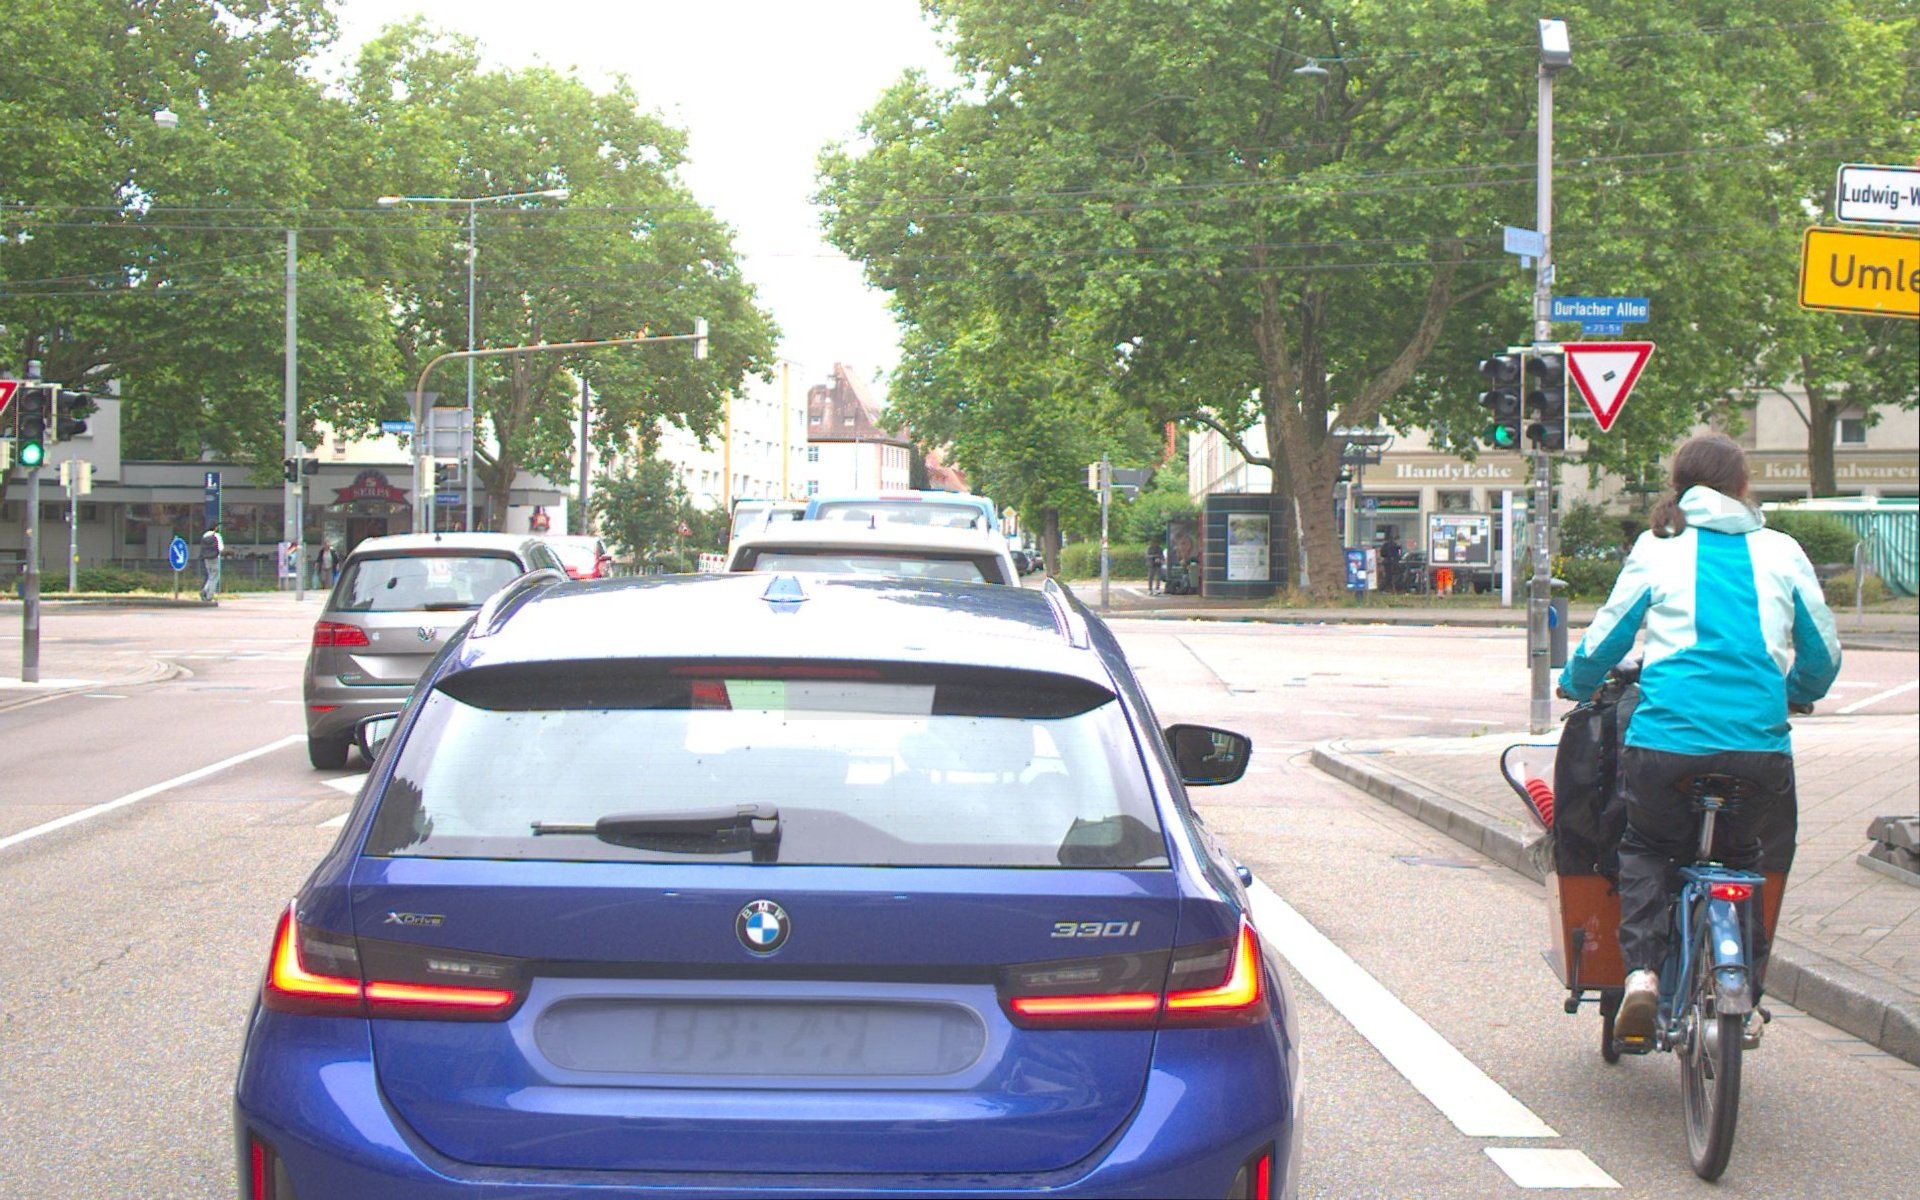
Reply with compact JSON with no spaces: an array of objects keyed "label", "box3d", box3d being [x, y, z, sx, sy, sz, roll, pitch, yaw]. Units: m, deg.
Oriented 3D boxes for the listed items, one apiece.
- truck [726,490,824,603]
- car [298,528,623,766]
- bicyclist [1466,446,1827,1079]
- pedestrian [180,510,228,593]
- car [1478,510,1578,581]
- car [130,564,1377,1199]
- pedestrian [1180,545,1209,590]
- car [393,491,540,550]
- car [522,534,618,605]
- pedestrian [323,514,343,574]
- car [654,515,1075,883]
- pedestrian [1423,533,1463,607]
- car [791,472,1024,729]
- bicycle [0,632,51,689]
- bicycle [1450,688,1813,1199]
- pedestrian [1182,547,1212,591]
[{"label":"truck","box3d":[-4.069,-1.201,76.124,2.074,2.400,5.463,0,1,-2]},{"label":"car","box3d":[-3.387,0.260,23.964,1.732,1.519,4.000,0,1,-1]},{"label":"bicyclist","box3d":[1.717,0.378,8.734,0.686,1.512,1.058,0,1,-1]},{"label":"pedestrian","box3d":[-16.130,-1.044,73.337,0.676,1.765,0.724,1,1,41]},{"label":"car","box3d":[17.888,-1.713,108.163,2.177,2.193,3.995,1,1,24]},{"label":"car","box3d":[-0.326,0.651,7.177,1.815,1.400,4.320,0,1,-1]},{"label":"pedestrian","box3d":[7.091,-0.990,103.984,0.817,1.367,0.763,0,1,0]},{"label":"car","box3d":[-15.134,-2.428,105.483,3.987,1.700,2.000,0,1,-34]},{"label":"car","box3d":[-8.087,-0.651,71.502,1.649,1.442,3.511,0,1,-1]},{"label":"pedestrian","box3d":[-18.264,-1.632,100.157,0.571,1.765,0.515,0,1,-13]},{"label":"car","box3d":[-0.436,0.387,16.863,1.815,1.586,4.000,0,1,-1]},{"label":"pedestrian","box3d":[11.390,-0.706,81.059,0.784,1.737,0.925,0,1,-2]},{"label":"car","box3d":[-0.433,-0.040,28.813,1.815,1.998,4.000,0,1,-1]},{"label":"bicycle","box3d":[-9.914,0.516,33.407,1.886,0.443,1.029,6,2,-2]},{"label":"bicycle","box3d":[1.688,0.827,8.931,0.494,1.094,2.139,0,1,-1]},{"label":"pedestrian","box3d":[7.105,-0.947,103.121,0.853,1.310,0.763,0,1,0]}]
